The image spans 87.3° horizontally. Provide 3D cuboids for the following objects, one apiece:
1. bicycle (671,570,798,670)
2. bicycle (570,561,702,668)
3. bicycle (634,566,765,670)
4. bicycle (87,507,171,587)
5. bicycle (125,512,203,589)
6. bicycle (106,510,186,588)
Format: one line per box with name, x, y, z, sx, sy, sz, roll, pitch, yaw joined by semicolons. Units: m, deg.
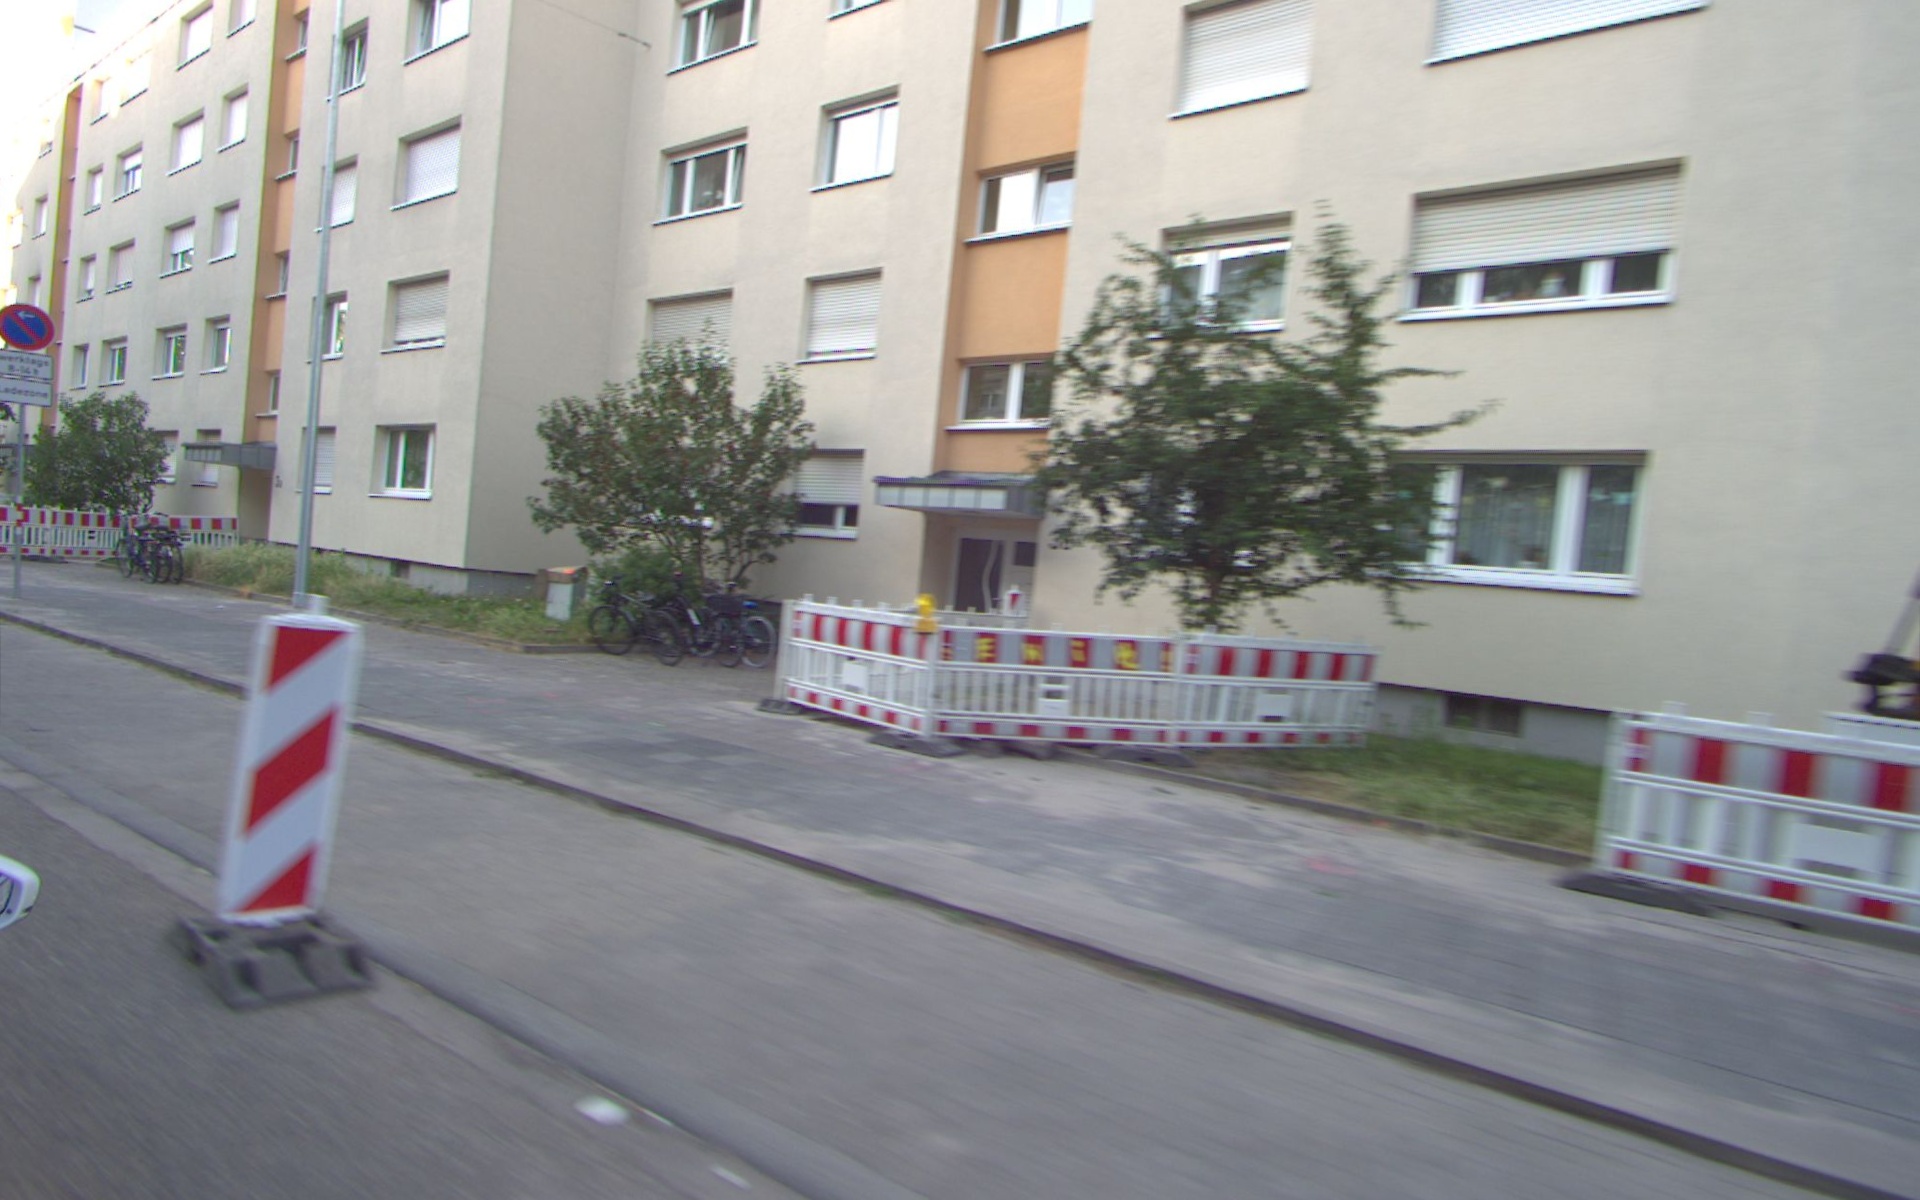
bicycle;-3.135;0.265;13.886;1.788;1.187;0.556;6;1;35
bicycle;-4.200;0.175;12.990;1.788;1.187;0.556;6;1;35
bicycle;-3.489;0.229;13.401;1.788;1.187;0.556;6;1;35
bicycle;-14.703;-0.944;17.782;1.879;1.237;0.452;6;1;30
bicycle;-14.449;-0.904;18.242;1.795;1.237;0.398;6;1;30
bicycle;-14.636;-0.929;18.064;1.879;1.237;0.398;6;1;30
